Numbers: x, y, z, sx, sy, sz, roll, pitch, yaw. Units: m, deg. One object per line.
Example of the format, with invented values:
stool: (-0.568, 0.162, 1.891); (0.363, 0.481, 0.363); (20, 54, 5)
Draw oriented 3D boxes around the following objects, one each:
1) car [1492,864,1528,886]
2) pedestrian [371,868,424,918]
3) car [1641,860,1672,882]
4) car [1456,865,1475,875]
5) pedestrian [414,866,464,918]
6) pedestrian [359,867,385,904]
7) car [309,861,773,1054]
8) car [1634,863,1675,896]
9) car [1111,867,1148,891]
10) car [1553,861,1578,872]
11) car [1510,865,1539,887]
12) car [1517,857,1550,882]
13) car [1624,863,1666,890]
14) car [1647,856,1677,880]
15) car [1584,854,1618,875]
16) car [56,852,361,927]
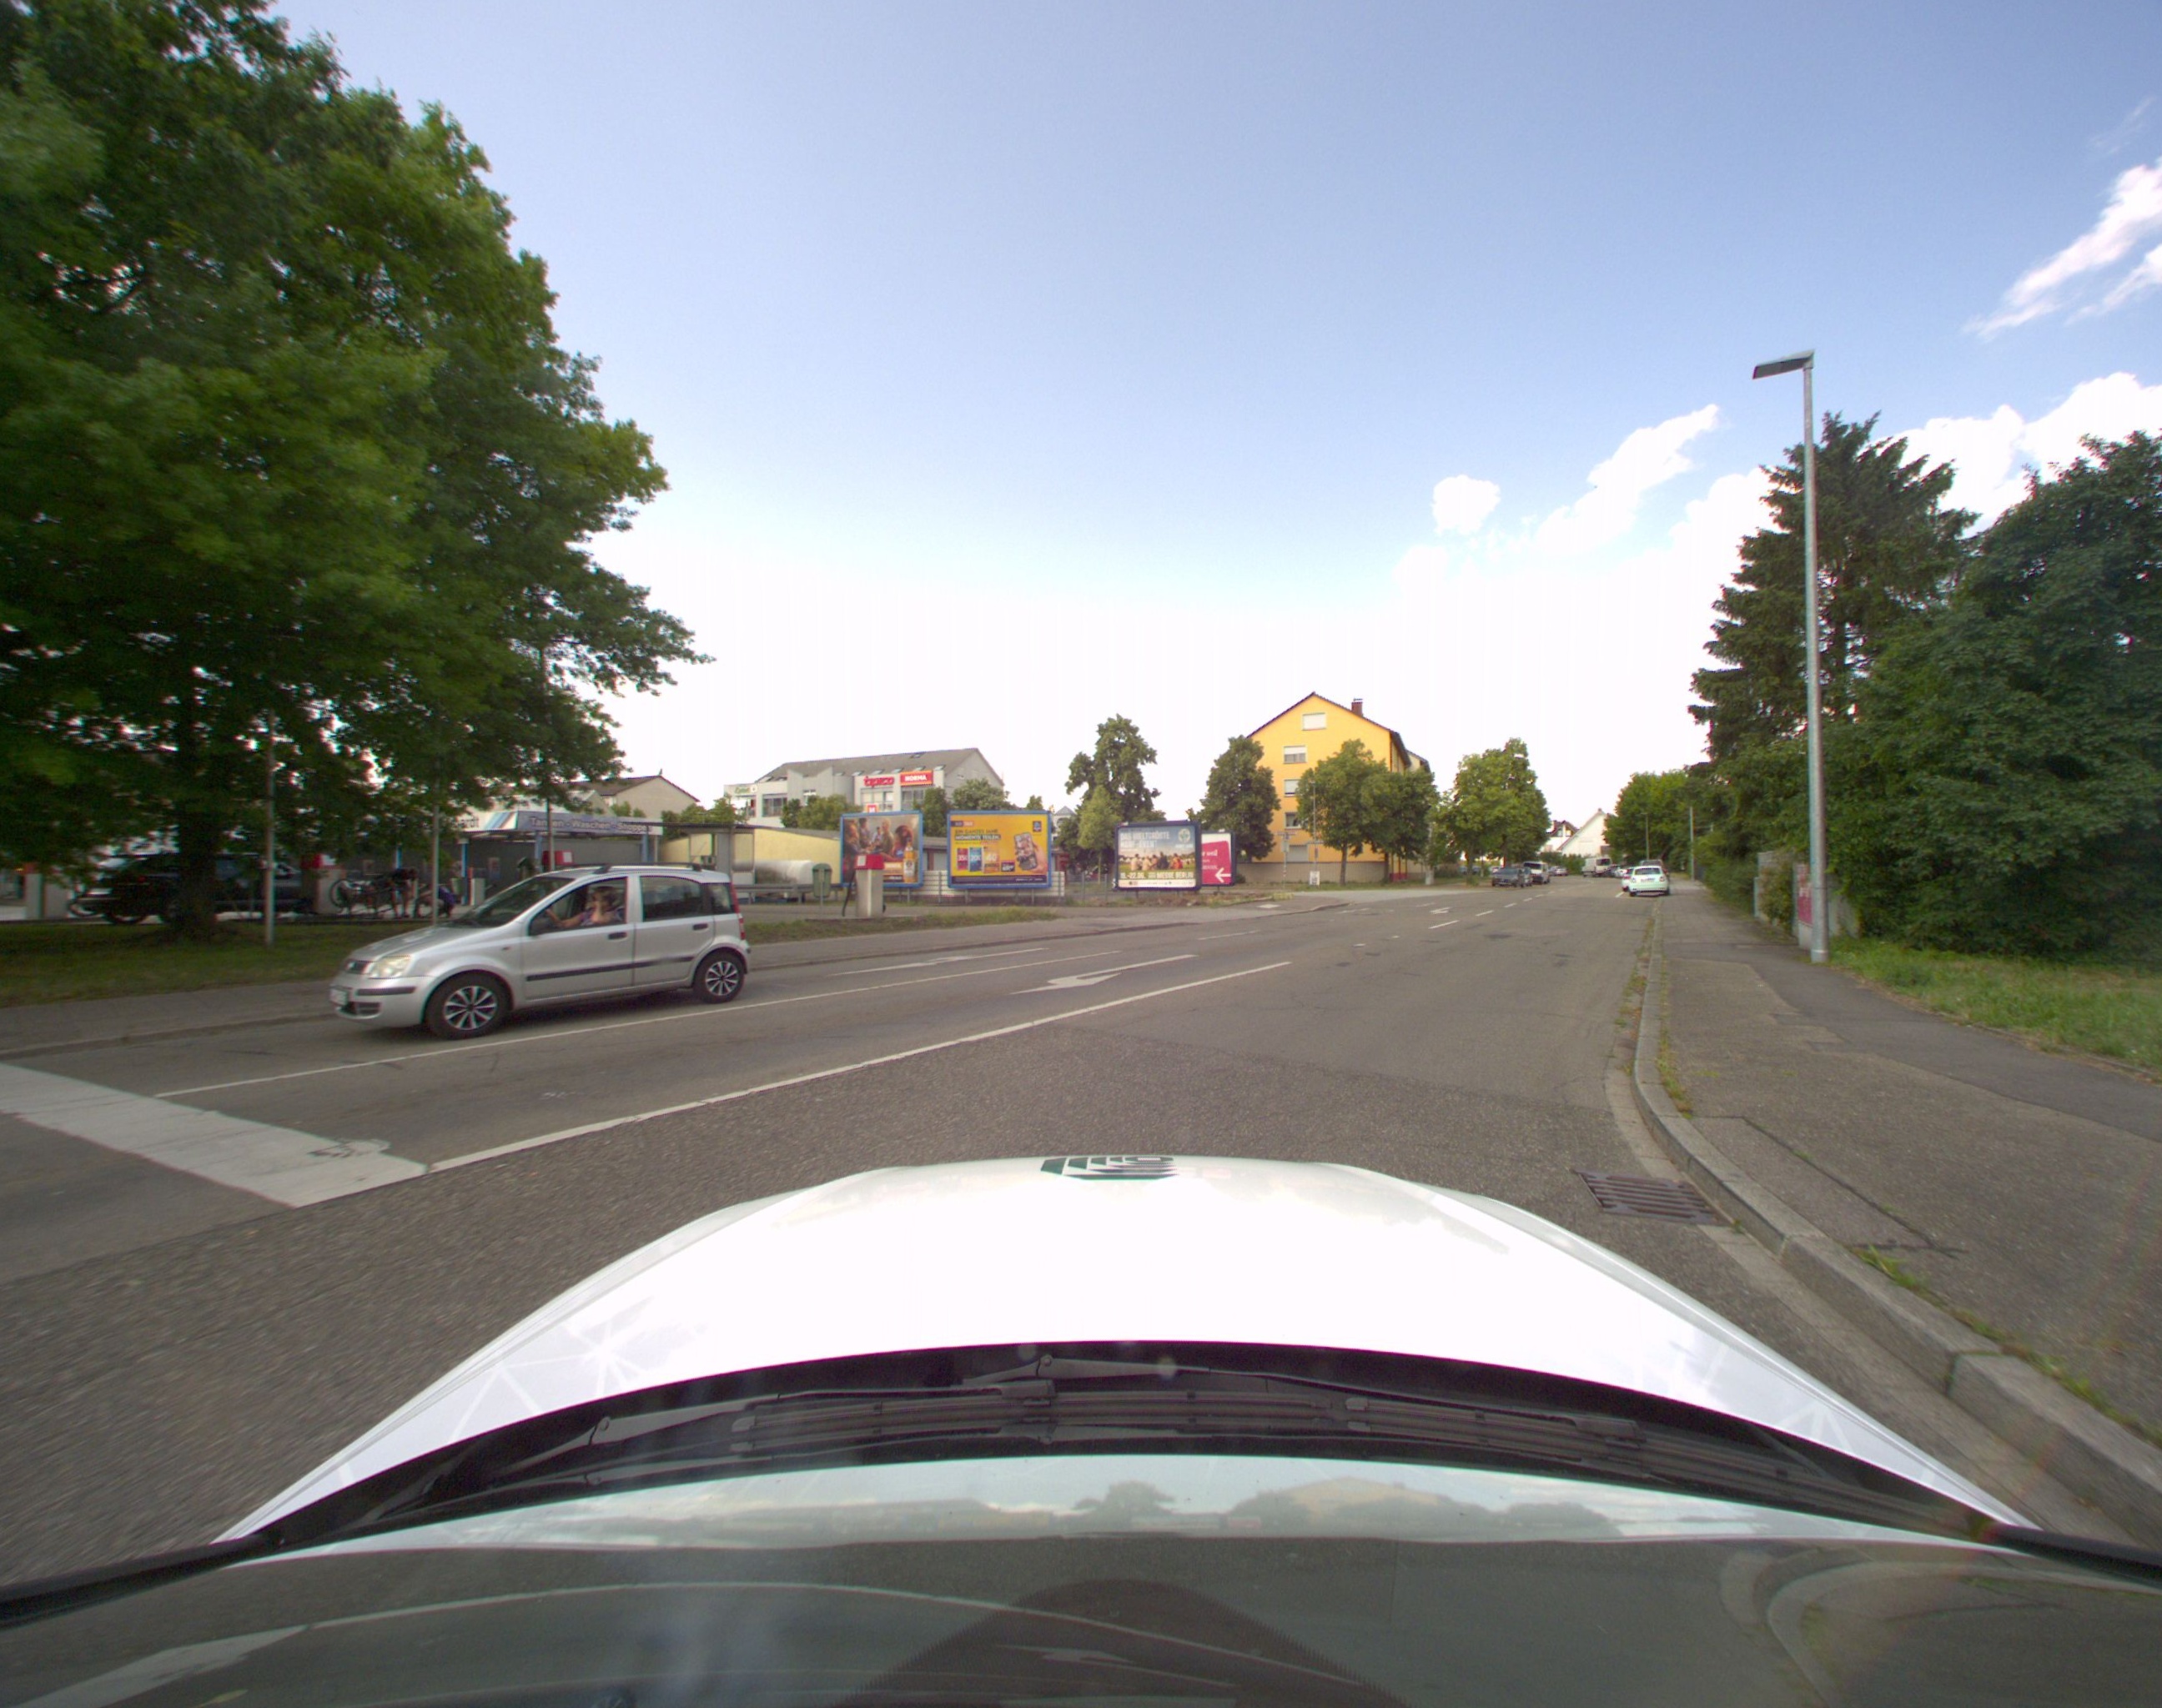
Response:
car: (31.541, 1.574, 59.826); (1.668, 1.486, 4.008); (2, -1, 37)
pedestrian: (-16.628, 0.953, 19.839); (0.766, 1.190, 0.641); (1, -4, -21)
car: (43.014, 1.276, 60.834); (1.832, 1.579, 4.762); (-1, -1, 36)
car: (60.544, 2.485, 128.317); (1.775, 1.457, 4.449); (3, -1, 12)
pedestrian: (-15.762, 0.933, 20.014); (0.766, 1.256, 0.641); (1, -4, -21)
pedestrian: (-30.170, 1.352, 34.664); (0.616, 1.544, 0.660); (-1, -1, 30)
car: (-5.237, 0.848, 8.340); (1.539, 1.517, 3.631); (-1, -1, 36)
car: (28.530, 1.232, 40.494); (1.566, 1.520, 3.779); (-1, -1, 36)
car: (3.644, 1.848, 60.441); (1.633, 1.591, 3.920); (-2, 0, 19)
car: (67.521, 1.715, 113.573); (1.725, 1.457, 4.380); (-1, -1, 13)
car: (35.441, 1.697, 65.055); (1.503, 1.549, 3.779); (5, 3, 35)
car: (39.980, 1.322, 71.882); (1.861, 2.009, 5.356); (3, 2, 35)
car: (32.500, 1.255, 46.900); (1.705, 1.486, 3.772); (-1, -1, 39)
car: (51.029, 1.238, 71.564); (1.824, 1.945, 4.906); (-4, -3, 33)
car: (63.195, 1.275, 99.138); (2.100, 2.441, 5.922); (-1, -1, 18)
car: (-20.943, 0.799, 19.899); (2.132, 1.596, 4.580); (-1, -1, 13)
